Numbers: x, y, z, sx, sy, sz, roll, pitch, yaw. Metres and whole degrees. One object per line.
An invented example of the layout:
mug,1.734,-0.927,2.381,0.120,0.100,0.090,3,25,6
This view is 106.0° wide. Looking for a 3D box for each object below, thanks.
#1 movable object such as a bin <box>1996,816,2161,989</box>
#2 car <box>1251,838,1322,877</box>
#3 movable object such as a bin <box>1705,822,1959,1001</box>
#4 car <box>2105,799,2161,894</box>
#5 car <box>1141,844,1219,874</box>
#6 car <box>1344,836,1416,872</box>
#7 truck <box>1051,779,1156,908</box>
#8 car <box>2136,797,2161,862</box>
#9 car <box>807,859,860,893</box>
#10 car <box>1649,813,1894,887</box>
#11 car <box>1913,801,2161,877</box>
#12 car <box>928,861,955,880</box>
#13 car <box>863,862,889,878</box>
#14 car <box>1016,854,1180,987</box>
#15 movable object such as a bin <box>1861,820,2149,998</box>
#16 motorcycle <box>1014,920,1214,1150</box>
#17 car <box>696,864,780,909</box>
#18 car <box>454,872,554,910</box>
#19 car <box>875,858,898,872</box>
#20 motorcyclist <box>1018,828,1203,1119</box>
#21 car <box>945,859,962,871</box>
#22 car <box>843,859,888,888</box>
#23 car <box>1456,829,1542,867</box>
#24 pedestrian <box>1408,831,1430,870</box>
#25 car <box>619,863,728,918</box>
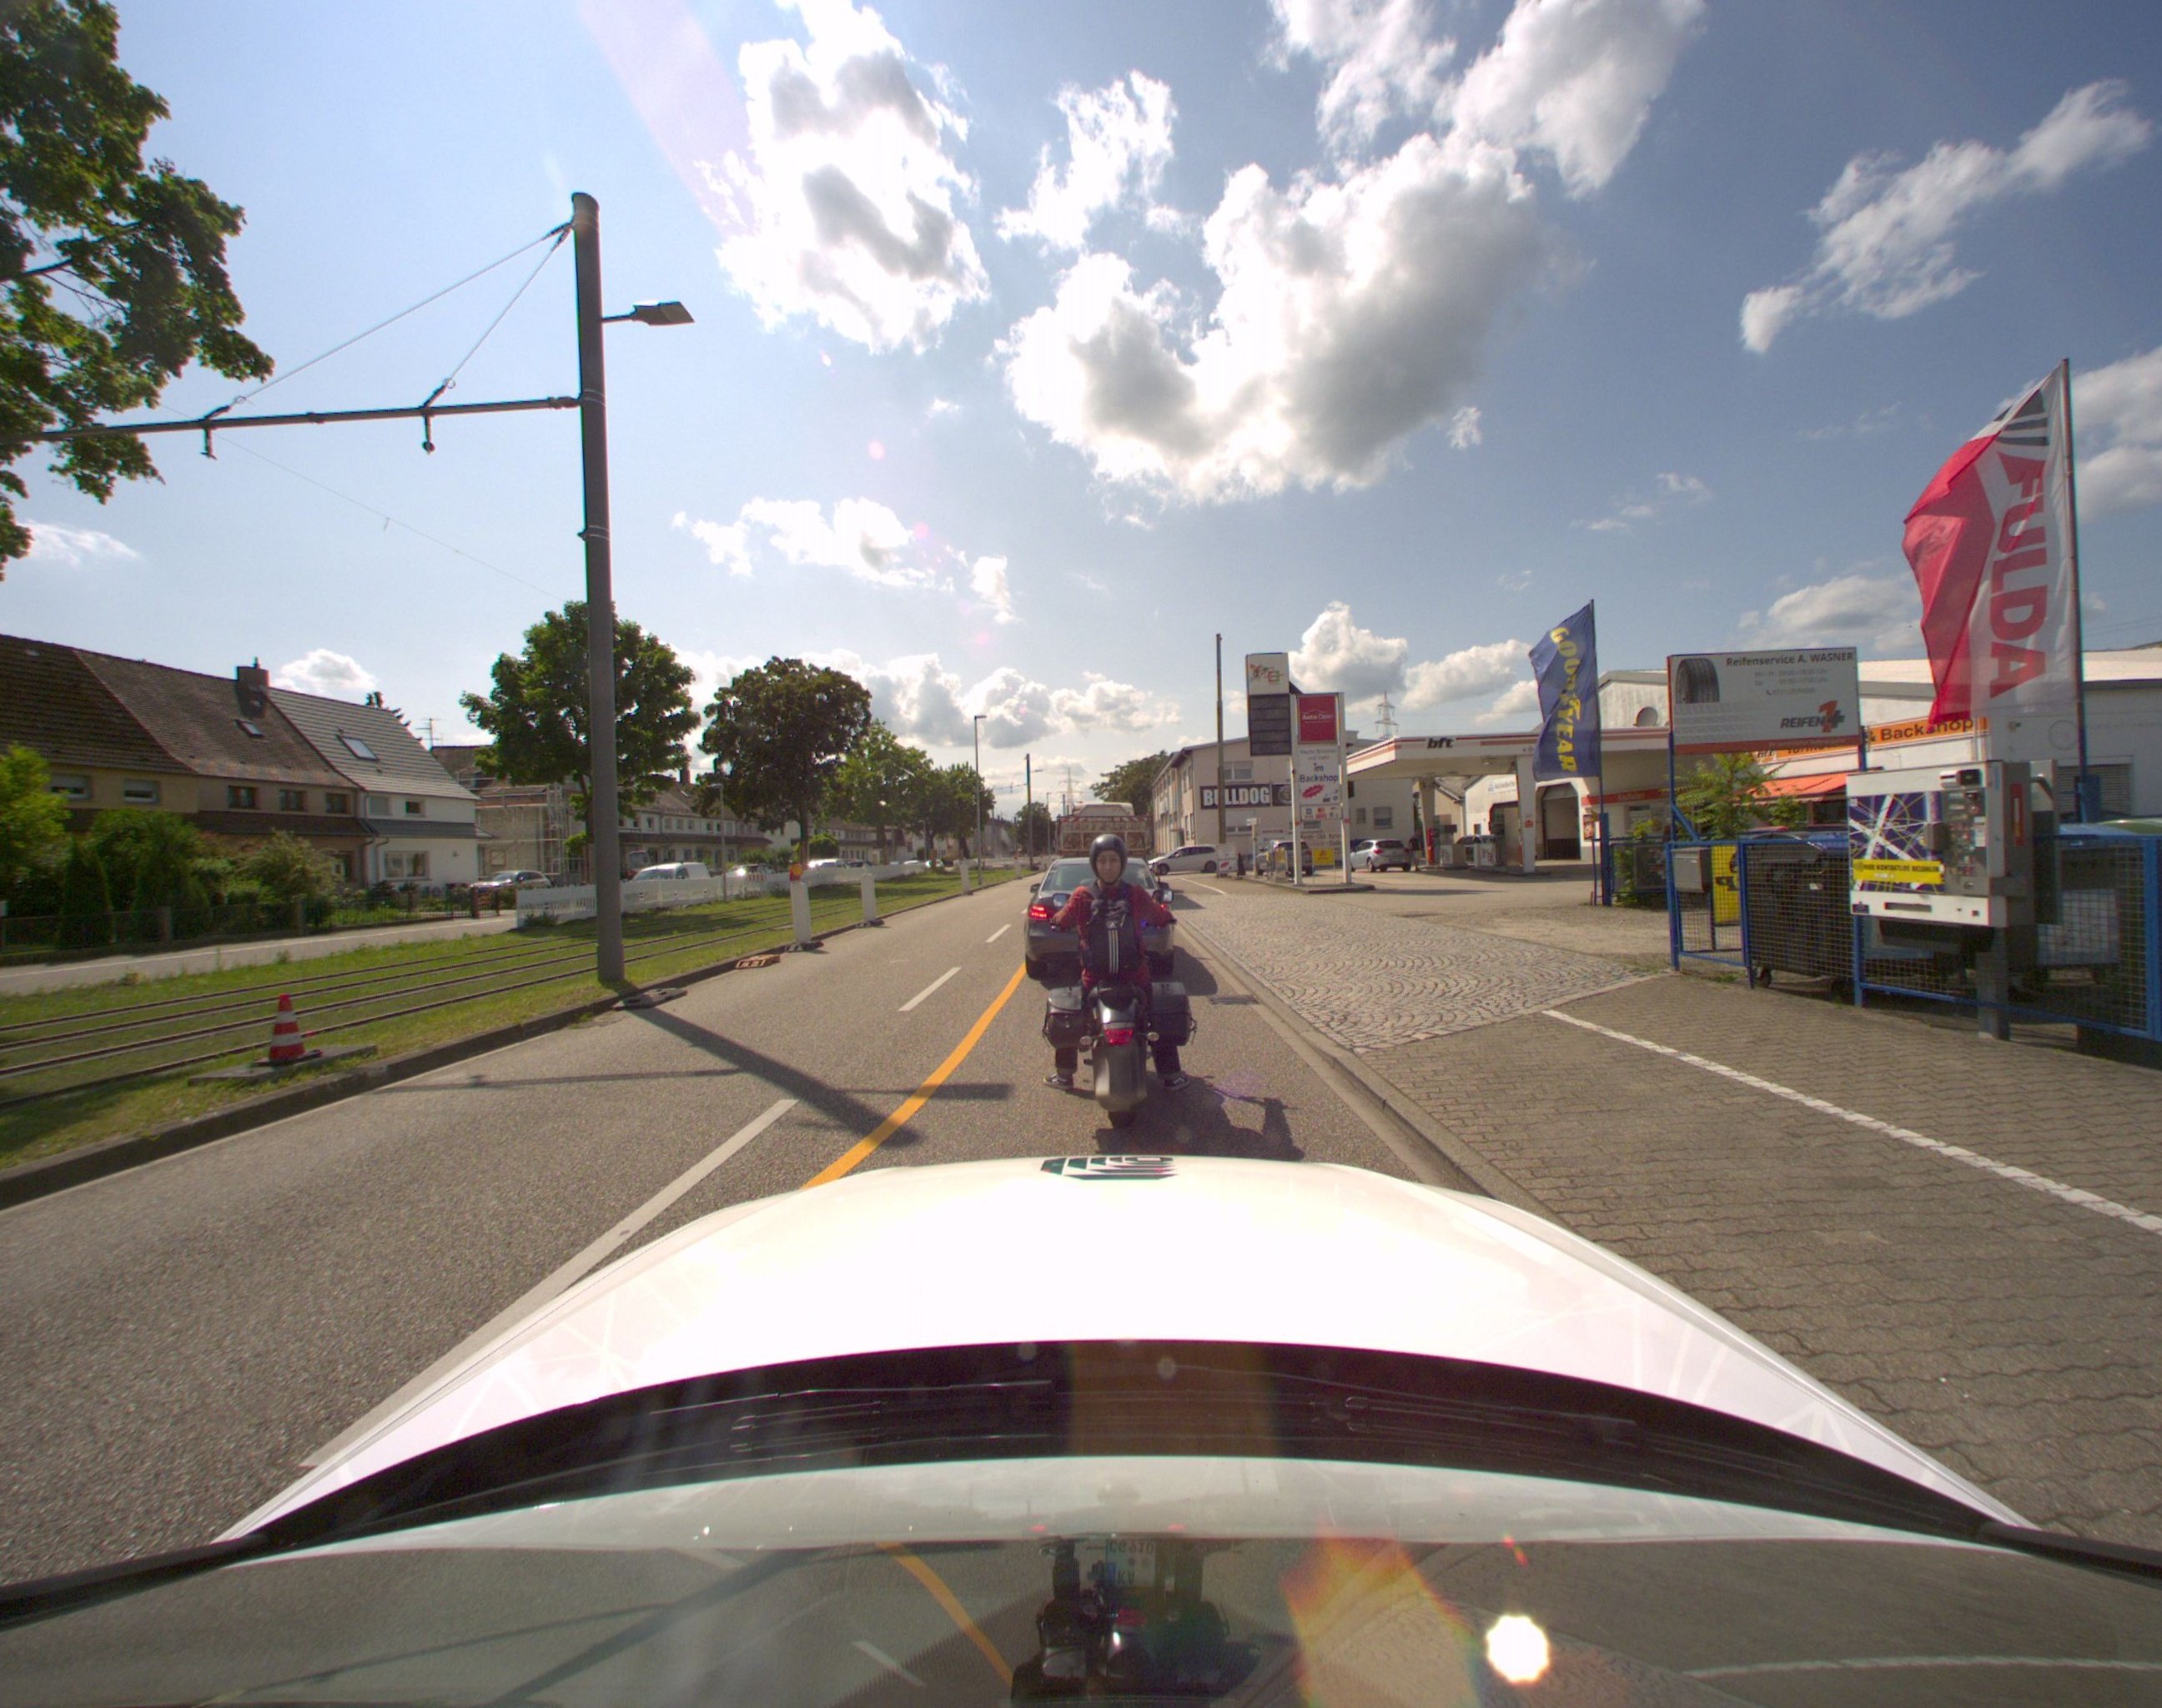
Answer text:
movable object such as a bin,9.489,0.373,7.135,1.397,1.396,1.338,-2,0,1
car,9.120,0.150,36.457,1.665,1.562,4.235,-2,0,-6
movable object such as a bin,6.692,0.477,7.363,1.104,1.436,1.244,-2,0,1
car,18.058,-0.204,11.657,4.249,1.415,1.678,-3,0,7
car,5.699,0.290,47.098,4.225,1.543,1.669,-2,0,-7
car,13.480,-0.009,36.924,1.800,1.503,3.832,-2,0,-1
truck,0.731,-0.289,25.505,2.628,3.296,8.059,-2,0,2
car,26.529,-0.637,18.006,4.180,1.463,1.587,-2,0,2
car,-15.060,1.327,49.866,1.769,1.867,4.130,-2,0,2
car,15.777,-0.089,18.762,4.180,1.463,1.587,-2,0,2
car,21.525,-0.341,18.169,4.180,1.463,1.587,-2,0,2
car,-13.723,1.631,80.460,1.769,1.722,4.130,-2,0,2
car,-24.383,1.839,97.048,1.769,1.722,4.130,-2,0,2
car,0.249,0.743,11.065,1.816,1.452,4.002,0,0,2
movable object such as a bin,8.086,0.443,7.223,1.104,1.396,1.244,-2,0,1
motorcycle,0.207,1.023,5.450,0.975,0.897,2.654,-2,0,2
car,-15.403,1.397,36.804,1.769,1.774,4.230,-2,0,2
car,-27.433,1.725,38.900,1.769,1.519,4.002,-2,0,2
car,-25.154,1.402,105.209,1.769,1.722,4.130,-2,0,2
motorcyclist,0.183,0.675,5.146,0.975,1.602,1.088,-2,0,1
car,-19.627,1.635,125.922,1.769,1.722,4.130,-2,0,2
car,-14.800,1.335,56.044,1.769,1.805,4.130,-2,0,2
car,18.252,-0.273,35.748,1.800,1.503,3.833,-2,0,0
pedestrian,14.656,-0.132,35.322,0.701,1.656,0.551,-2,0,37
car,-15.461,1.316,31.161,1.769,1.821,4.366,-2,0,2
